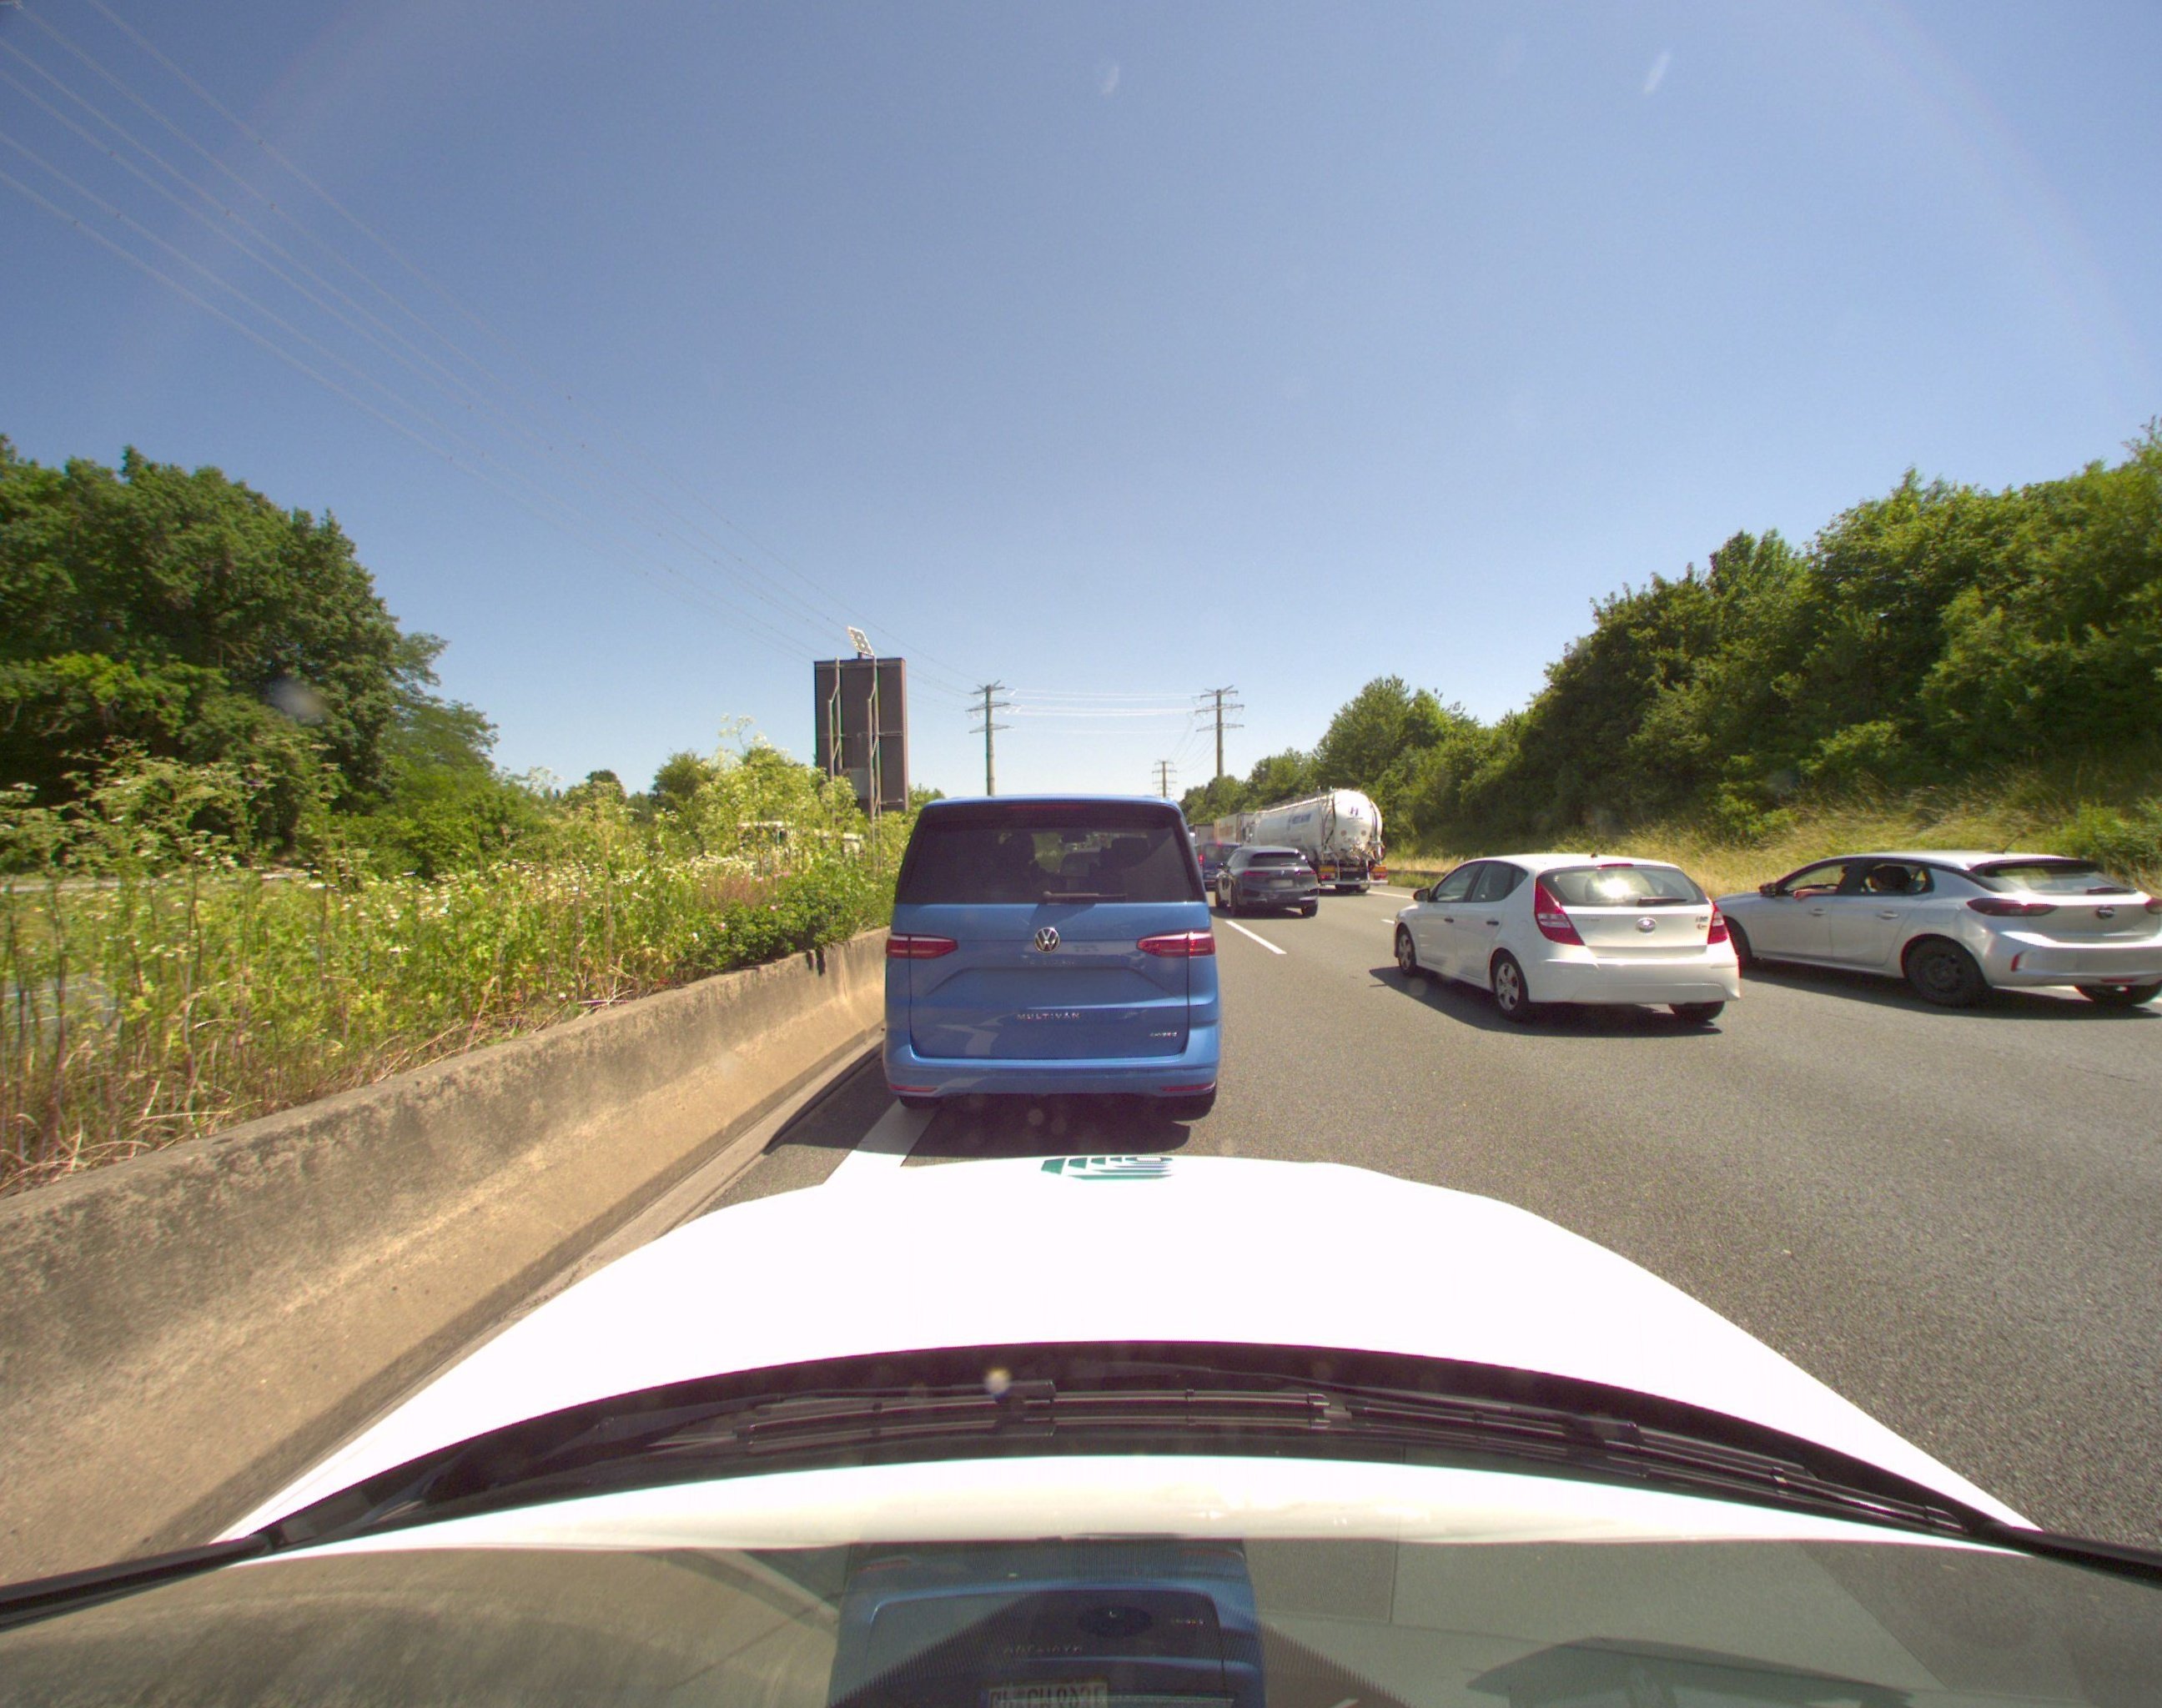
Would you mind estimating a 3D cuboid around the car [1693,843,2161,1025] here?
[{"bbox_3d":[8.822,0.635,8.629,1.724,1.443,4.030,-2,0,2],"label":"car"}]

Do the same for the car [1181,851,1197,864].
[{"bbox_3d":[16.949,0.552,128.063,1.986,2.014,4.001,-1,-1,2],"label":"car"}]

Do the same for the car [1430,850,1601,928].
[{"bbox_3d":[9.082,0.687,17.432,1.634,1.416,3.991,-2,-1,3],"label":"car"}]

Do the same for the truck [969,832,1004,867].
[{"bbox_3d":[-10.601,-0.454,91.581,3.060,3.709,5.465,-1,0,2],"label":"truck"}]

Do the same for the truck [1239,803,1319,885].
[{"bbox_3d":[9.953,-0.467,41.544,2.782,3.836,5.574,-2,0,2],"label":"truck"}]

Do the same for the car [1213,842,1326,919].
[{"bbox_3d":[4.671,0.637,20.846,1.991,1.715,4.628,-2,-1,3],"label":"car"}]

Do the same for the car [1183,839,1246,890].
[{"bbox_3d":[5.551,0.452,34.308,1.917,1.925,4.235,-2,-1,0],"label":"car"}]

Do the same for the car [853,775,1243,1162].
[{"bbox_3d":[-0.082,0.554,5.999,1.912,1.886,4.002,0,0,2],"label":"car"}]

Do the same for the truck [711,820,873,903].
[{"bbox_3d":[-13.107,0.318,38.586,2.753,3.288,11.830,-2,0,3],"label":"truck"}]

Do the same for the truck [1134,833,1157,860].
[{"bbox_3d":[9.260,-0.989,117.807,2.883,3.766,10.148,-1,-1,3],"label":"truck"}]

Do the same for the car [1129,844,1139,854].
[{"bbox_3d":[11.967,-1.173,184.168,1.986,2.126,4.001,-1,-1,2],"label":"car"}]

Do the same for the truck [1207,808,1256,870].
[{"bbox_3d":[11.531,-1.085,62.807,2.901,4.469,5.144,-2,0,2],"label":"truck"}]

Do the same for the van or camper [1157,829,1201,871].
[{"bbox_3d":[7.555,-0.247,63.449,2.944,3.022,7.109,-1,-1,4],"label":"van or camper"}]

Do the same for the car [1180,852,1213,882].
[{"bbox_3d":[6.064,0.686,43.151,1.355,1.420,3.887,-2,-1,3],"label":"car"}]

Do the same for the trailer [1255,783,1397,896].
[{"bbox_3d":[9.739,-0.492,34.057,2.751,3.845,11.490,-2,0,2],"label":"trailer"}]

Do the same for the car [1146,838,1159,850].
[{"bbox_3d":[12.567,-1.739,143.140,1.985,2.014,4.002,-1,-1,2],"label":"car"}]

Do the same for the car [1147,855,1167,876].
[{"bbox_3d":[7.681,1.140,82.745,1.828,1.998,4.004,-2,-1,4],"label":"car"}]

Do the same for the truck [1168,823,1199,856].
[{"bbox_3d":[12.827,-1.735,103.297,2.883,3.766,13.355,-1,-1,3],"label":"truck"}]

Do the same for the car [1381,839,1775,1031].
[{"bbox_3d":[4.680,0.674,8.476,1.809,1.485,4.003,-2,-1,3],"label":"car"}]

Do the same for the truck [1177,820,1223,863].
[{"bbox_3d":[11.484,-1.024,80.321,2.993,3.766,15.724,-1,-1,3],"label":"truck"}]

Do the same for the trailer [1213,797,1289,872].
[{"bbox_3d":[11.282,-1.144,55.445,2.901,4.469,12.159,-2,0,2],"label":"trailer"}]
